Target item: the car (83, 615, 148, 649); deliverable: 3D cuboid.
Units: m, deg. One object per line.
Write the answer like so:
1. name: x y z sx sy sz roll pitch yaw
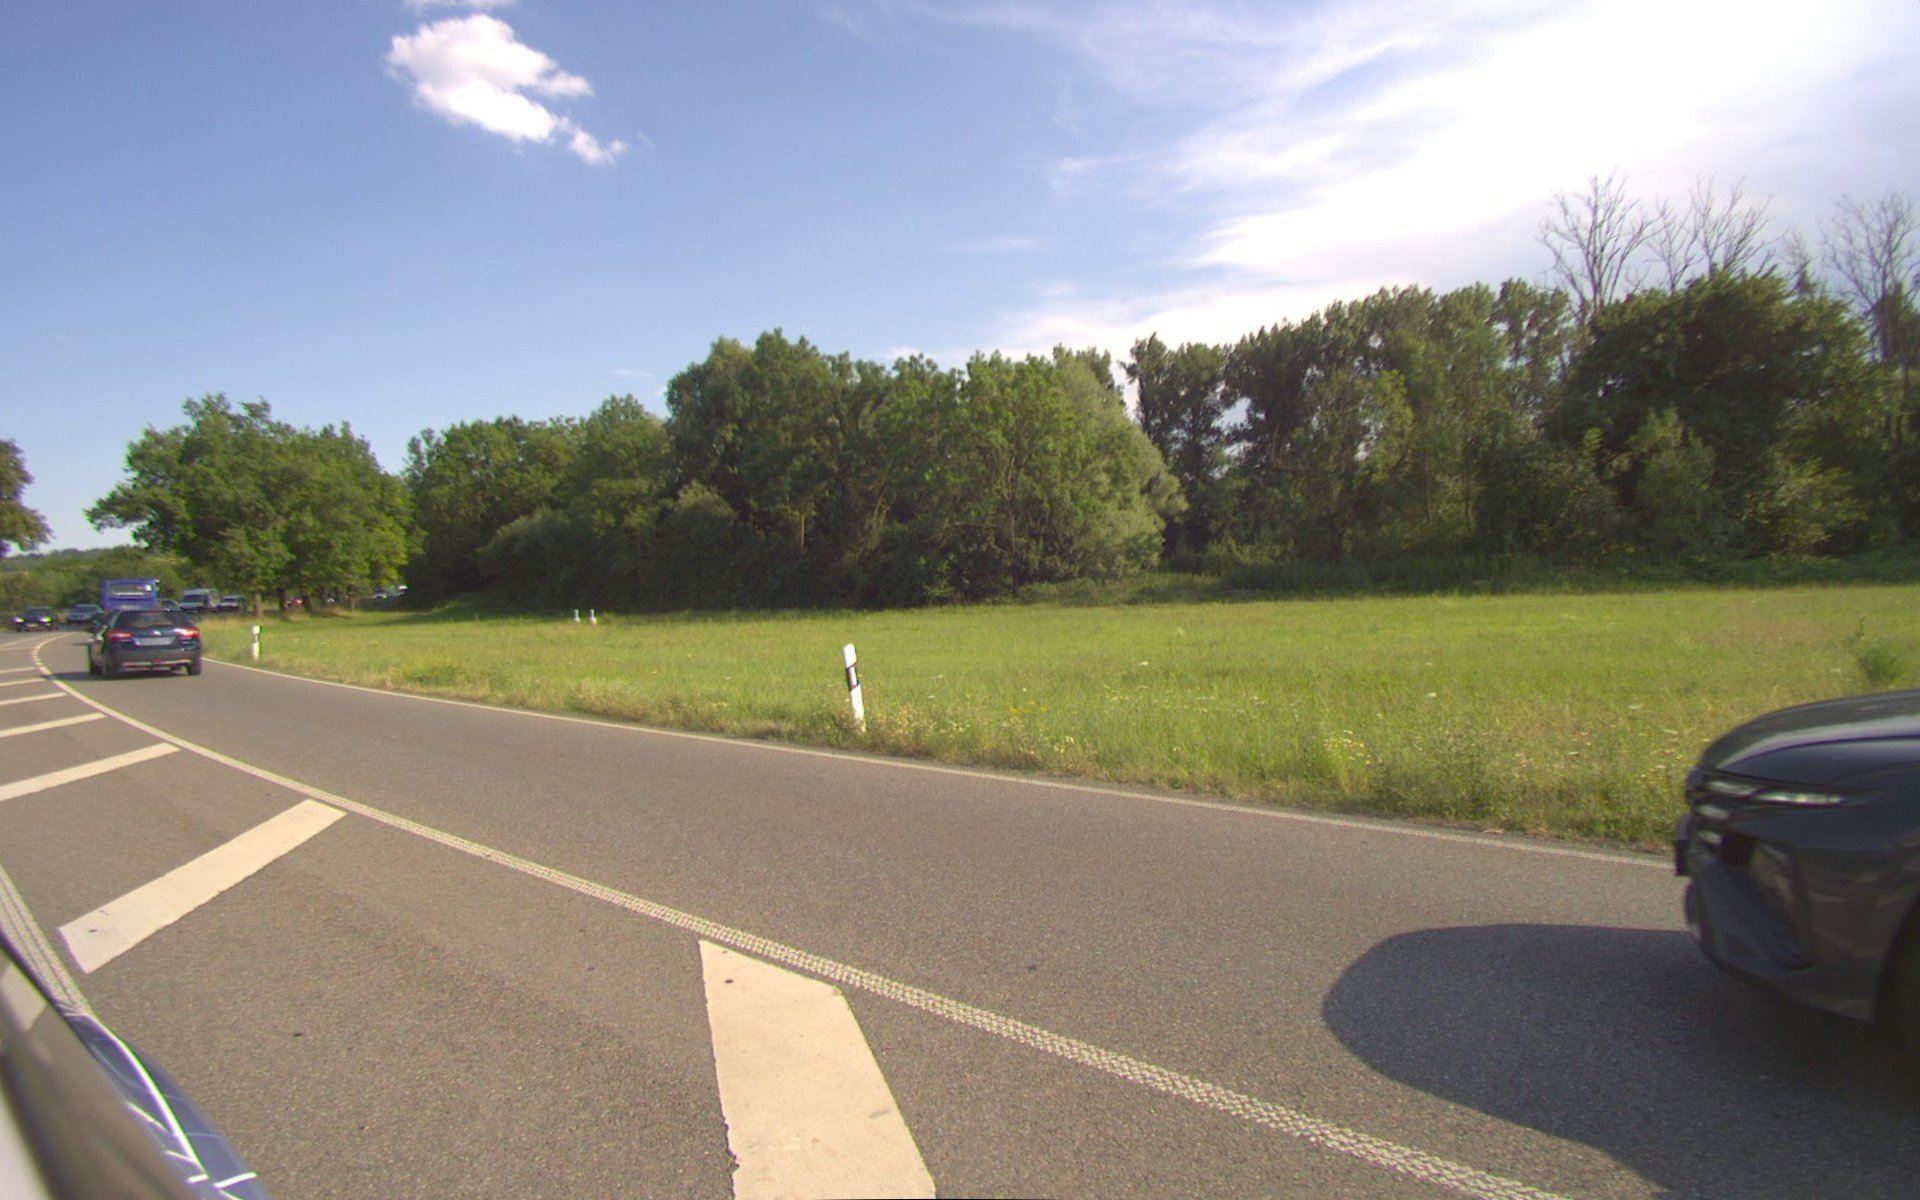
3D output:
1. car: -36.481 1.349 43.675 4.751 1.344 1.680 0 1 44

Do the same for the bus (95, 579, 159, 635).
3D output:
1. bus: -53.435 0.354 64.743 2.760 3.205 12.144 -2 2 -41

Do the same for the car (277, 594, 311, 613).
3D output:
1. car: -90.107 0.464 136.945 2.056 2.435 5.155 -1 1 -11

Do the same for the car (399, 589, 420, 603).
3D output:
1. car: -103.449 -0.815 190.257 2.056 2.435 5.155 -1 1 -11

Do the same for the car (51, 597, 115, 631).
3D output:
1. car: -66.252 1.013 76.555 2.054 2.435 5.159 -1 1 -23

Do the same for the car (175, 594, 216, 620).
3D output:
1. car: -77.908 0.685 103.176 2.054 2.435 5.159 -1 1 -23

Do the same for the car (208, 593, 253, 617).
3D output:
1. car: -80.686 0.523 112.026 2.056 2.435 5.155 -1 1 -11

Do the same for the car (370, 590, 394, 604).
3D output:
1. car: -100.293 -0.522 175.787 2.056 2.435 5.155 -1 1 -11

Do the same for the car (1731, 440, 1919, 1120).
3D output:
1. car: 4.507 0.380 2.217 4.419 1.738 1.975 -2 0 38

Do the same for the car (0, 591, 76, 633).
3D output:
1. car: -57.325 0.710 62.822 2.054 2.435 5.159 -1 1 -23

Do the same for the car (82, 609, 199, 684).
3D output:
1. car: -18.814 1.029 23.182 1.675 1.564 4.154 0 -2 -45
